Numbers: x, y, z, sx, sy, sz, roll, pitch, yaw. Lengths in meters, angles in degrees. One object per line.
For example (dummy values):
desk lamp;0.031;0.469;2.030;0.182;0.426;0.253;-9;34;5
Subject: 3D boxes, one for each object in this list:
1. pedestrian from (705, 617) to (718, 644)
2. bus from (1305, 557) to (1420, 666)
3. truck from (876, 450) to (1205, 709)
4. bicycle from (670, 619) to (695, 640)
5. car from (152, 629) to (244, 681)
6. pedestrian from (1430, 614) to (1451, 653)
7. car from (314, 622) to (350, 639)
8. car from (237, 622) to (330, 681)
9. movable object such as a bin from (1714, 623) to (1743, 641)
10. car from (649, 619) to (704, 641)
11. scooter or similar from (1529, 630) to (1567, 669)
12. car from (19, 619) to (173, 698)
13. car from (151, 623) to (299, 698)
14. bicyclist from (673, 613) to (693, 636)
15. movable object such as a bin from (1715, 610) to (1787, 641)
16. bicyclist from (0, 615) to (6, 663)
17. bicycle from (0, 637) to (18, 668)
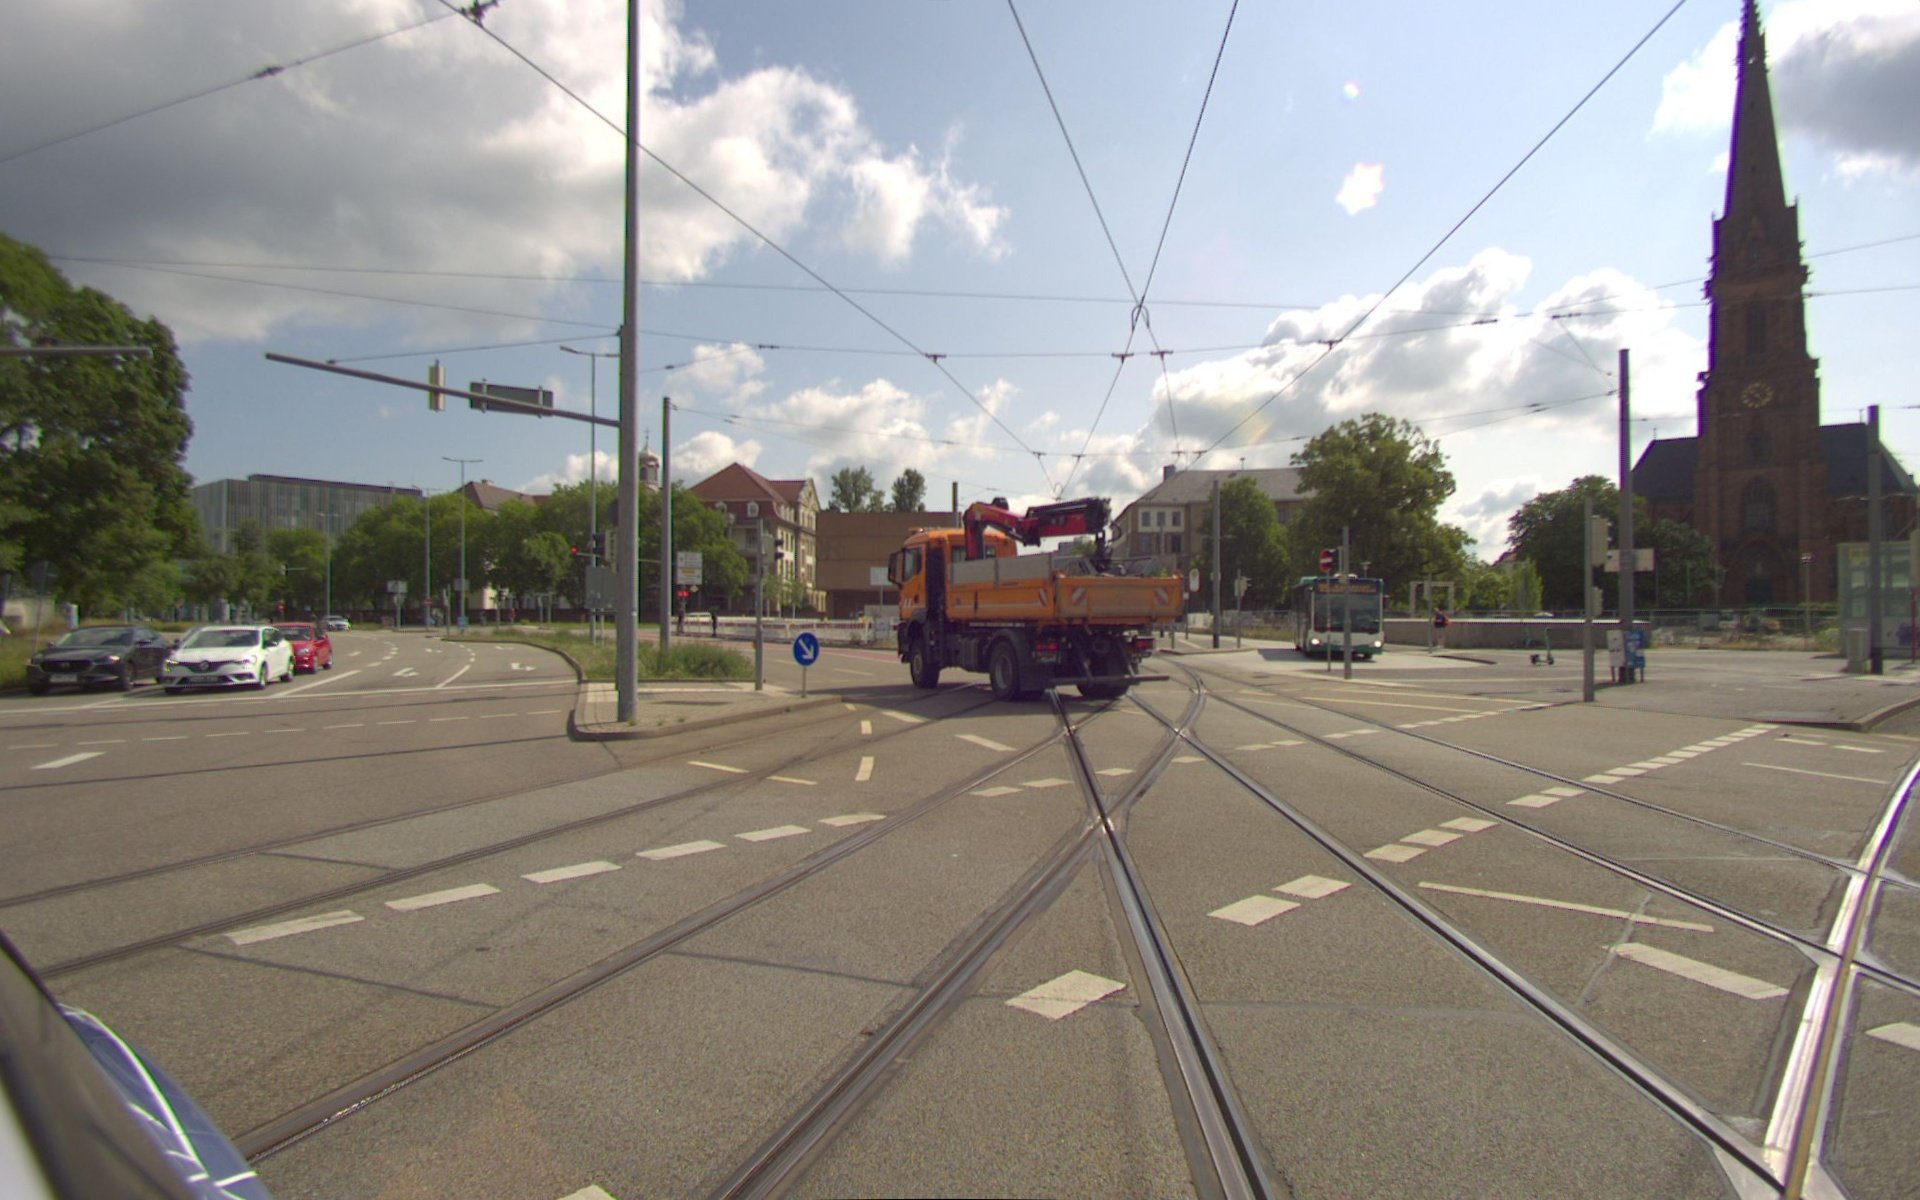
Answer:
pedestrian;-16.079;1.974;65.478;0.642;1.777;1.005;0;-1;-25
bus;16.231;0.521;40.159;2.902;3.648;12.258;-1;-2;28
truck;1.084;-0.233;19.978;2.788;4.039;8.098;0;-1;-25
bicycle;-18.997;2.019;69.244;0.956;1.421;2.300;1;-1;-33
car;-23.873;1.661;31.825;1.561;1.395;4.092;-1;0;-26
pedestrian;22.635;1.586;47.718;0.711;1.808;0.562;0;-1;3
car;-60.213;2.892;96.976;3.998;1.537;1.806;-1;-2;41
car;-19.485;1.423;29.312;1.618;1.478;4.078;-1;0;-25
movable object such as a bin;69.153;2.877;91.055;1.997;1.514;5.089;-1;-2;37
car;-22.784;2.404;81.318;3.940;1.796;2.002;0;-1;-3
scooter or similar;18.365;1.538;31.591;0.812;1.175;1.152;-1;-2;41
car;-20.065;1.278;23.705;1.618;1.588;4.226;-1;0;-25
car;-16.998;1.315;23.659;1.733;1.440;4.690;-1;0;-23
bicyclist;-18.966;1.665;69.294;0.765;1.575;1.780;1;-1;-34
movable object such as a bin;75.414;2.446;96.537;5.156;2.933;1.971;-1;-2;44
bicyclist;-29.292;1.167;30.322;0.625;1.468;1.173;0;-1;-23
bicycle;-29.341;1.590;30.479;0.642;0.904;2.283;1;-1;-23
